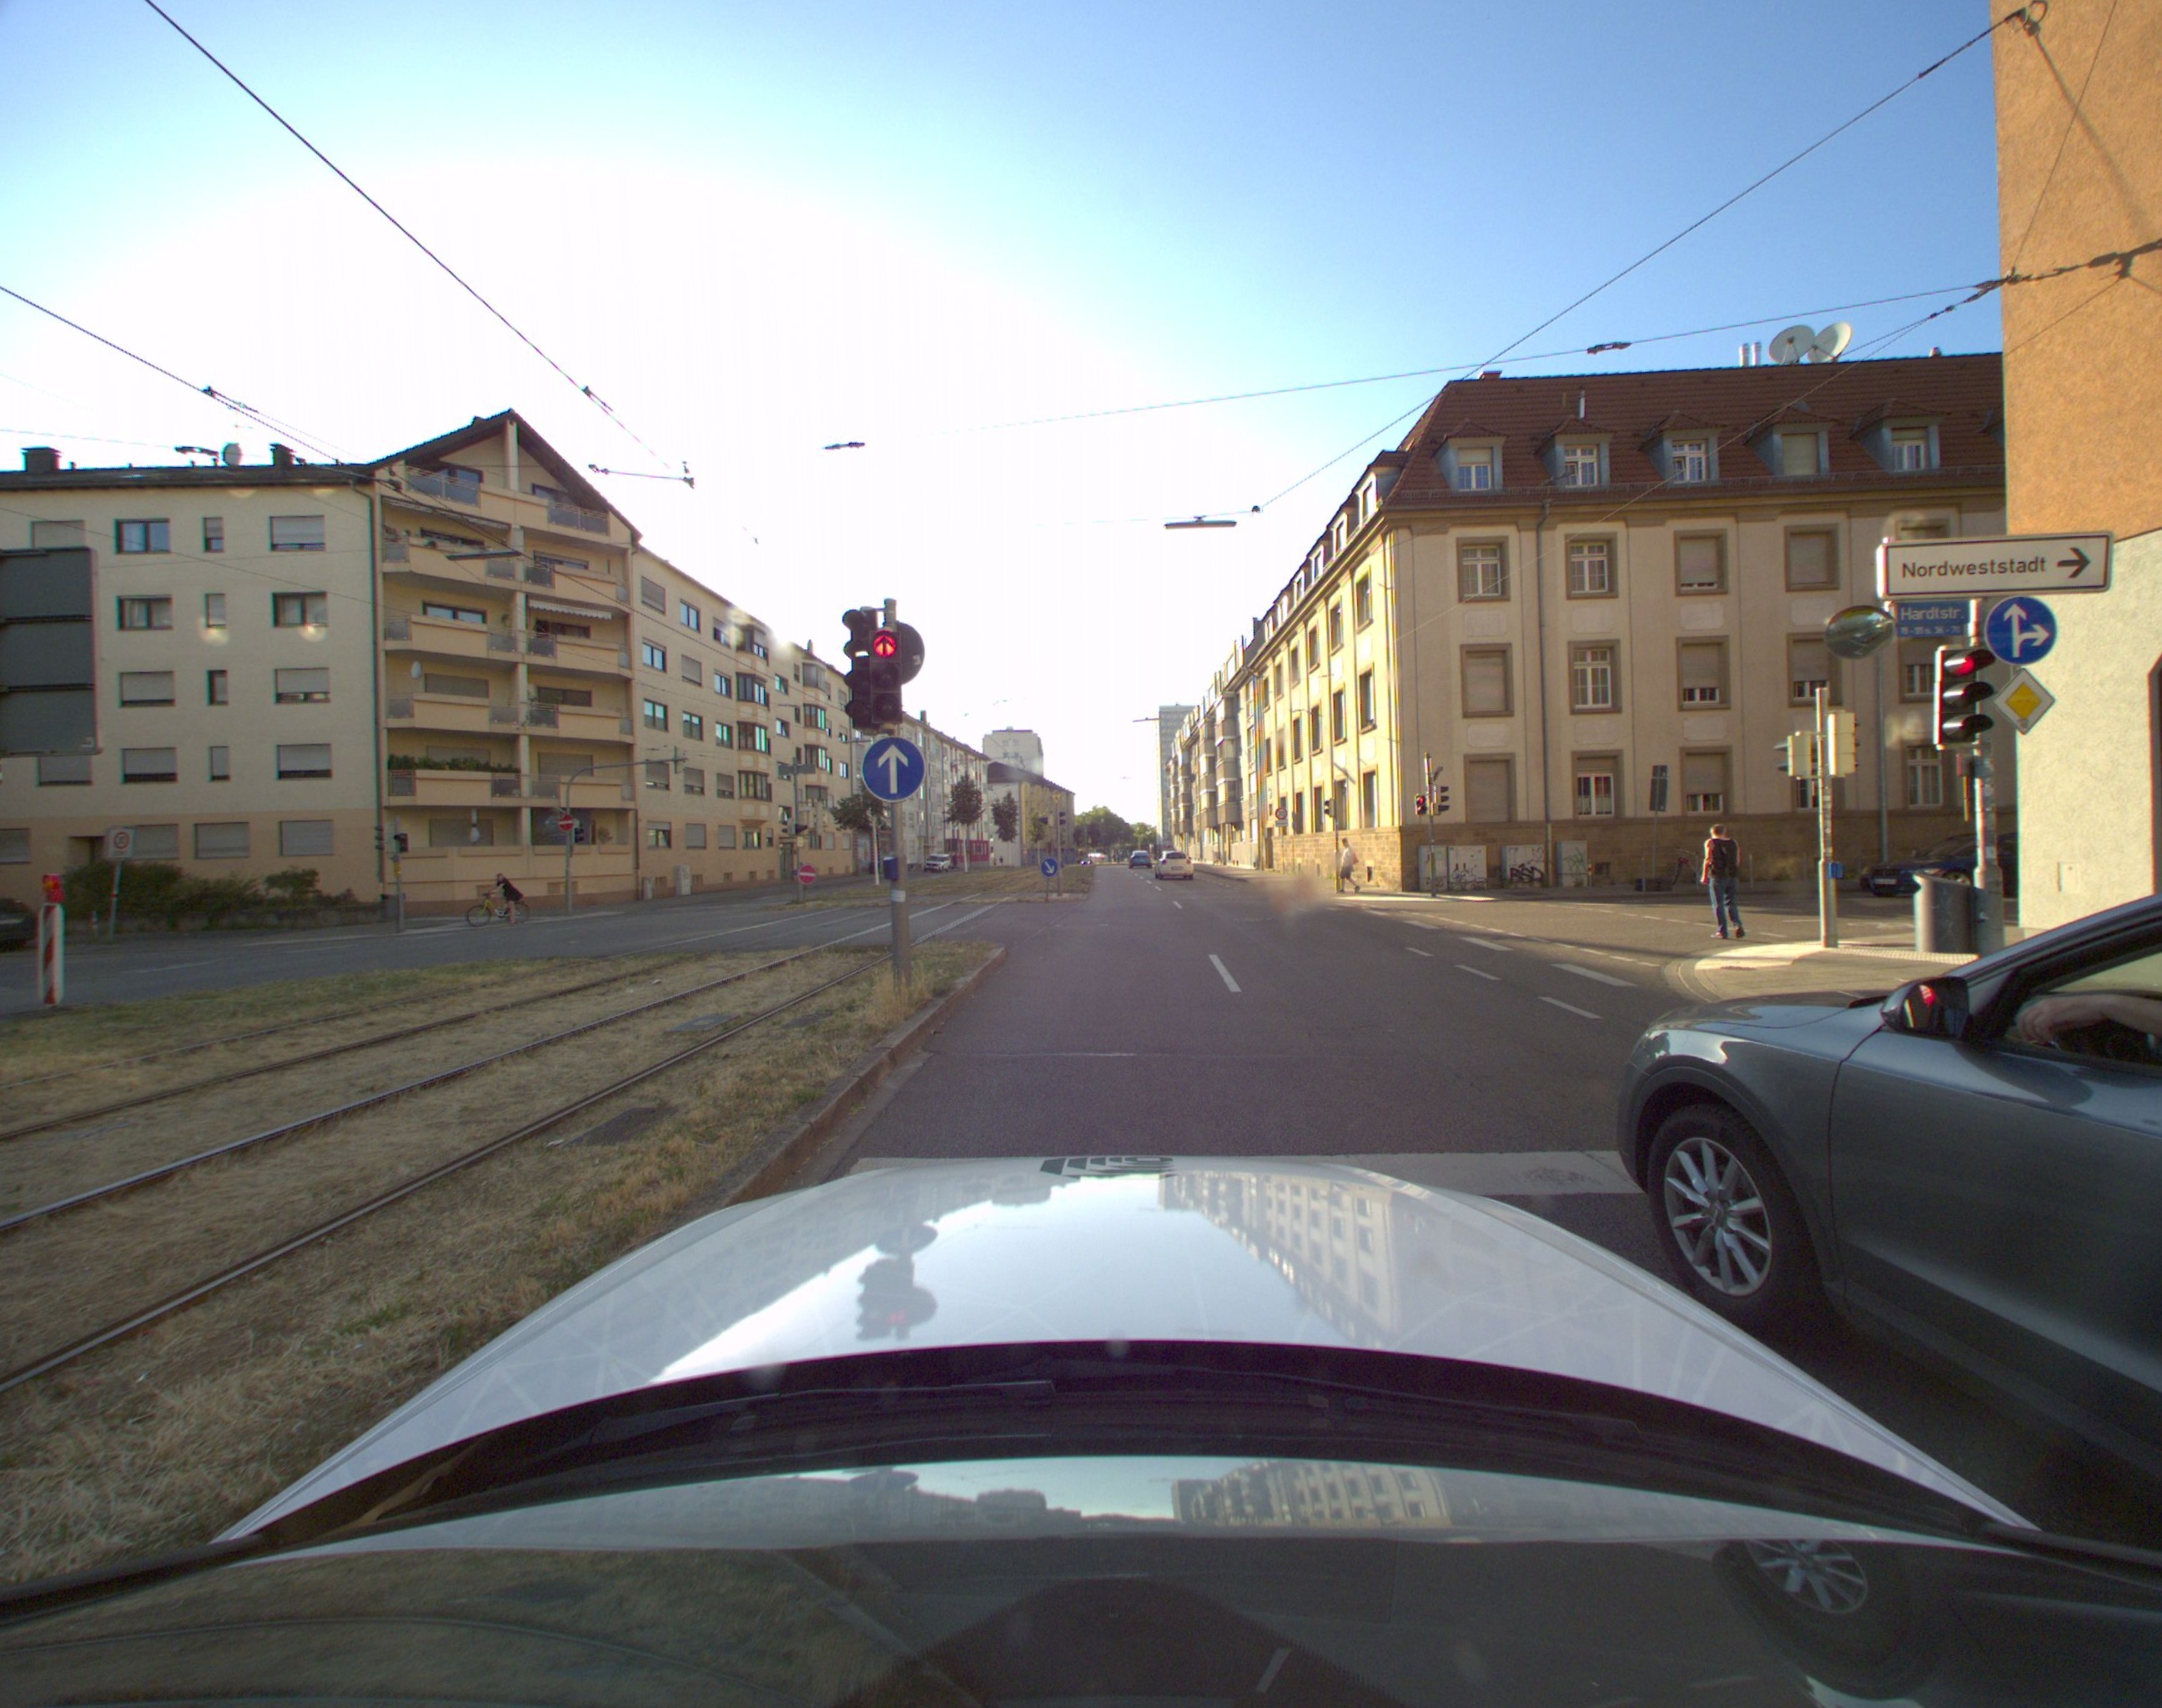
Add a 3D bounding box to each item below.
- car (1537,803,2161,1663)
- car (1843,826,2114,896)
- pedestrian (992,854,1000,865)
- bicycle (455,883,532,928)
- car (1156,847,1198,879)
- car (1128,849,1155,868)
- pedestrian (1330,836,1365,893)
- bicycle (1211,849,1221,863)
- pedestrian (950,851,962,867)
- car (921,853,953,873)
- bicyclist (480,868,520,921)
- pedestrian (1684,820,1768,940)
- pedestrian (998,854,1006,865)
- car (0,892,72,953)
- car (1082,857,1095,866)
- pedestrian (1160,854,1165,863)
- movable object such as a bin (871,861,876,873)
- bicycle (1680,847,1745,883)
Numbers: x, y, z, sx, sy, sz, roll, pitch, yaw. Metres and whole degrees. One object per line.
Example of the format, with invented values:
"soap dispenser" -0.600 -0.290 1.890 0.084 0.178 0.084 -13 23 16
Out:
"car" 2.799 0.686 1.483 1.691 1.552 4.227 0 0 2
"car" 20.281 0.151 18.522 4.305 1.456 1.929 0 -1 -5
"pedestrian" -12.372 0.792 119.039 0.957 1.694 1.013 -1 -1 7
"bicycle" -18.260 1.580 25.345 0.450 1.257 1.883 -1 1 34
"car" 4.853 0.458 41.627 1.985 1.564 4.004 0 -1 4
"car" 5.053 0.385 68.229 1.986 1.554 4.394 0 -1 1
"pedestrian" 8.380 0.335 25.641 0.832 1.762 0.824 0 -1 1
"bicycle" 10.237 0.154 61.781 0.382 1.096 1.503 -2 -1 0
"pedestrian" -14.546 0.565 94.550 1.267 1.761 1.272 0 -1 -4
"car" -14.504 0.871 82.155 1.984 1.925 4.548 0 -1 5
"bicyclist" -18.180 1.253 25.481 0.620 1.586 0.814 -1 0 35
"pedestrian" 9.842 0.388 12.453 0.627 1.758 0.826 0 -1 1
"pedestrian" -11.561 0.792 119.702 0.957 1.670 1.013 -1 -1 7
"car" -30.105 1.893 21.515 3.983 1.442 1.996 -2 2 -7
"car" 1.518 1.513 170.126 1.885 1.633 4.761 -2 0 10
"pedestrian" 10.741 0.622 107.294 0.688 1.234 0.737 0 -1 2
"movable object such as a bin" -17.542 1.108 68.852 0.297 1.036 0.442 0 -1 2
"bicycle" 18.571 0.326 23.960 1.491 1.018 0.251 -1 -1 17
